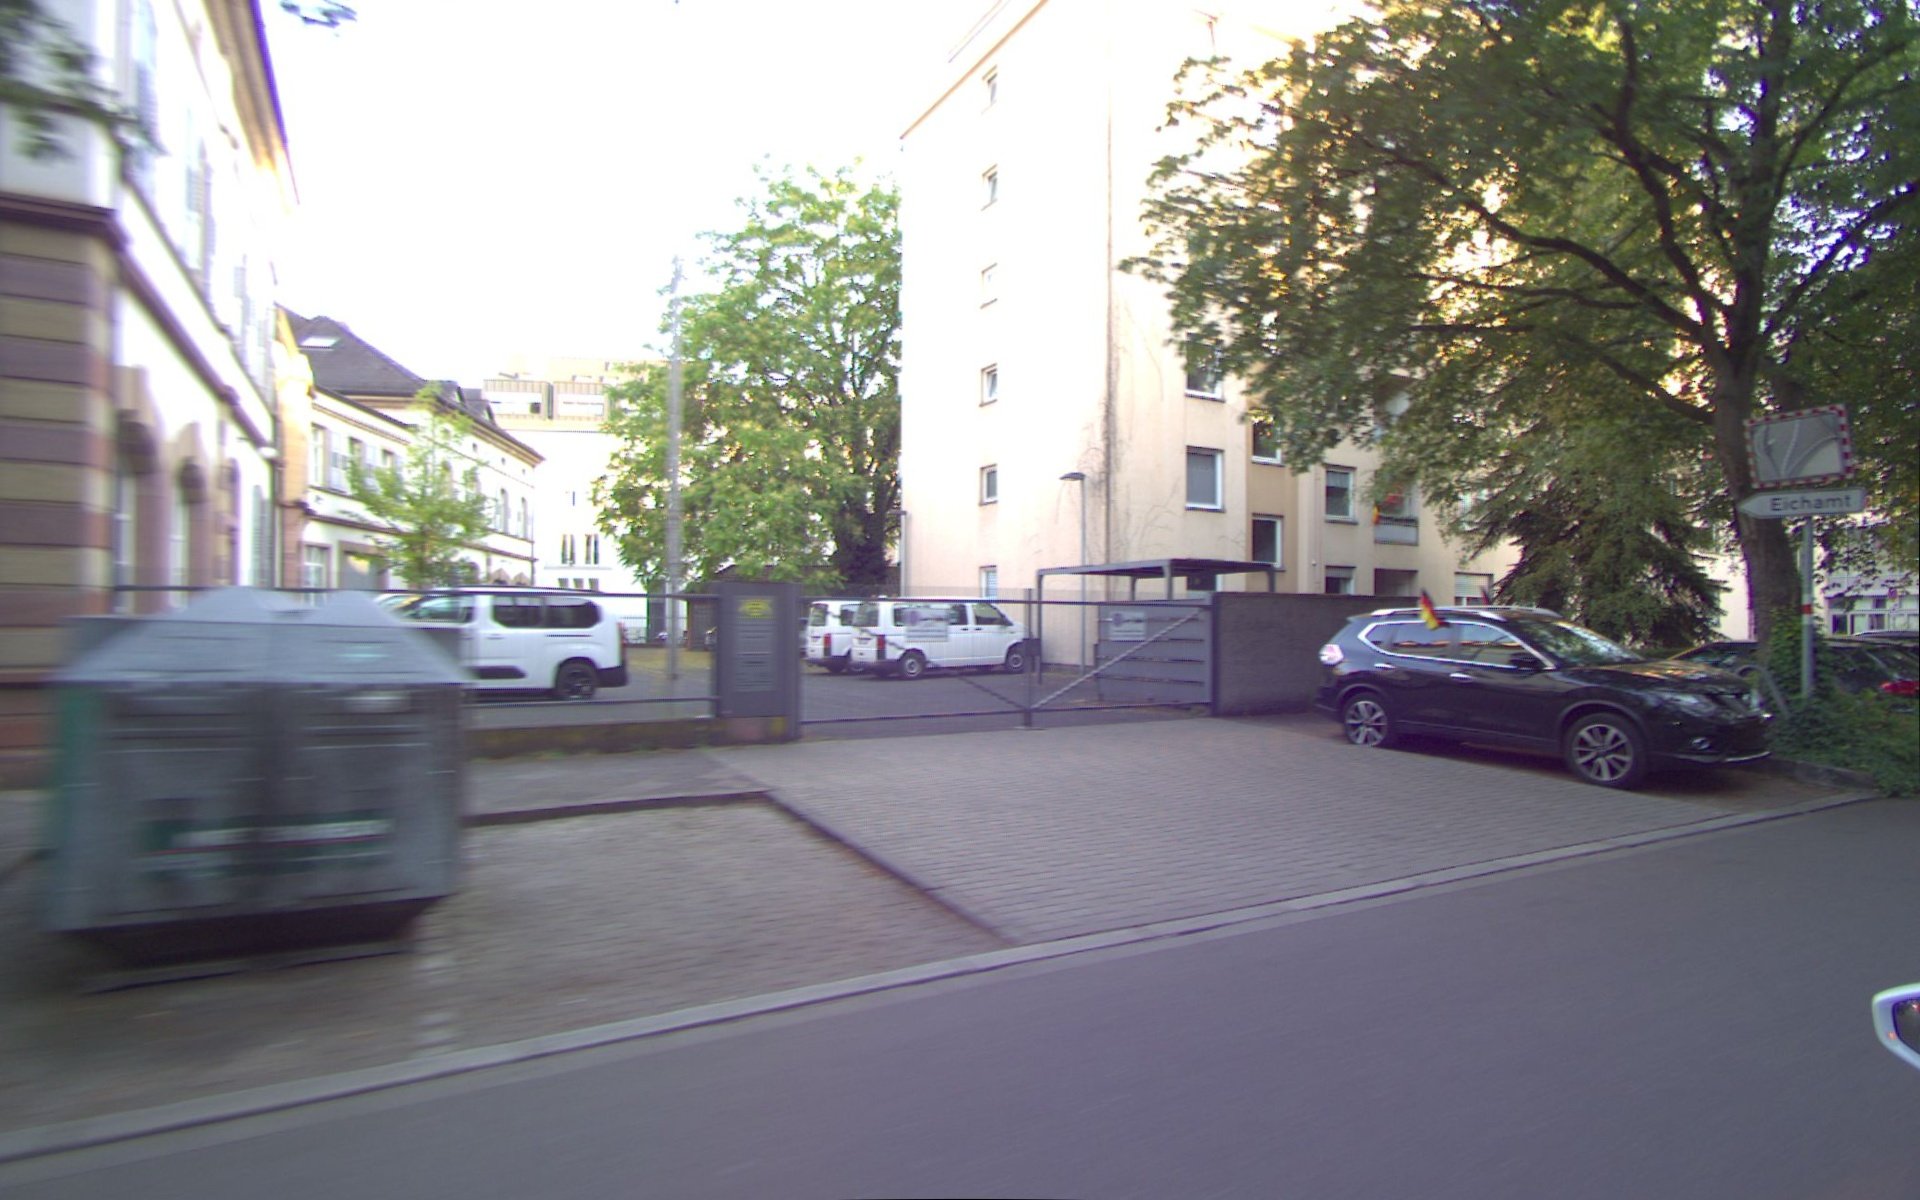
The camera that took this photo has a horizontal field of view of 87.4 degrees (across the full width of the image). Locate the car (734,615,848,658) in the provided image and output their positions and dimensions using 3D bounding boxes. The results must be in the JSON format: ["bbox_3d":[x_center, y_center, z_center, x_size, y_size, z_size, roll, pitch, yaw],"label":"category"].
[{"bbox_3d":[-6.326,1.367,37.726,3.953,1.550,1.551,1,-1,-30],"label":"car"}]

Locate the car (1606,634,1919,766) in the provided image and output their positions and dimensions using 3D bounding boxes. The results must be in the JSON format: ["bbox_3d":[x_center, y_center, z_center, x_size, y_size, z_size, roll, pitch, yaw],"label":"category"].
[{"bbox_3d":[10.760,1.205,13.306,1.576,1.461,3.387,1,-1,-31],"label":"car"}]

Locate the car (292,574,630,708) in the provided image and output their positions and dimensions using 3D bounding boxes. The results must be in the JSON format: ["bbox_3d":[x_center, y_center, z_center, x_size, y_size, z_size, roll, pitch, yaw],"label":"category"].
[{"bbox_3d":[-7.611,0.678,15.608,4.411,1.830,1.773,3,-2,-30],"label":"car"}]

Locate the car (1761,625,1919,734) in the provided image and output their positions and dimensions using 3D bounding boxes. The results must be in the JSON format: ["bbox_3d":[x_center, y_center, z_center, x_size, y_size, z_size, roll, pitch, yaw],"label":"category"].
[{"bbox_3d":[15.047,1.230,15.862,1.741,1.630,3.387,1,-1,-31],"label":"car"}]

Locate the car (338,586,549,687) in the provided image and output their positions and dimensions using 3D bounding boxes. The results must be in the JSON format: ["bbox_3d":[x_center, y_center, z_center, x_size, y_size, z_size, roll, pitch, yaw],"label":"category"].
[{"bbox_3d":[-11.211,0.783,21.936,3.953,2.040,1.676,1,-1,-30],"label":"car"}]

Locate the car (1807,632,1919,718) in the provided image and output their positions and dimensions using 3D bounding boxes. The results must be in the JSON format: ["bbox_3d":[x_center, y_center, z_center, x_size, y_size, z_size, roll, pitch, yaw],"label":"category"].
[{"bbox_3d":[17.247,1.317,17.040,1.727,1.398,4.078,1,0,-31],"label":"car"}]

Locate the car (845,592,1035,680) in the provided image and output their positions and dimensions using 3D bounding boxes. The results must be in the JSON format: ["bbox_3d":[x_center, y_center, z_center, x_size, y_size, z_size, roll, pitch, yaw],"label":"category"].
[{"bbox_3d":[-0.460,0.825,24.773,4.364,1.982,1.773,0,0,-30],"label":"car"}]

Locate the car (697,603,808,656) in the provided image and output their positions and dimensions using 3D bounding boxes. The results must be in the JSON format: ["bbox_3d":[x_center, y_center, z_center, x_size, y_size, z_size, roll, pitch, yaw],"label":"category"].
[{"bbox_3d":[-8.327,1.194,40.420,3.953,2.040,1.984,1,-1,-30],"label":"car"}]

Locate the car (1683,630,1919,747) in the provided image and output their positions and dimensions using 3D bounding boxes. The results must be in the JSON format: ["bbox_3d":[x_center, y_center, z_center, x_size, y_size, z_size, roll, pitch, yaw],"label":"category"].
[{"bbox_3d":[12.948,1.230,14.795,1.646,1.526,3.387,1,-1,-31],"label":"car"}]

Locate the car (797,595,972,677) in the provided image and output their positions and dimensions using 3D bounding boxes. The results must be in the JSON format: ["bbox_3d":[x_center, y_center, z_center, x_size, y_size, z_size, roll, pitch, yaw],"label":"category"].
[{"bbox_3d":[-2.007,0.914,27.089,4.364,2.022,1.773,0,0,-30],"label":"car"}]

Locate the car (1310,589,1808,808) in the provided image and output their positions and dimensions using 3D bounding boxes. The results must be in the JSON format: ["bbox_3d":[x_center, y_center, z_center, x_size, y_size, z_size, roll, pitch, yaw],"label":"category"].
[{"bbox_3d":[6.331,0.888,11.198,1.976,1.917,4.397,1,-1,-30],"label":"car"}]
